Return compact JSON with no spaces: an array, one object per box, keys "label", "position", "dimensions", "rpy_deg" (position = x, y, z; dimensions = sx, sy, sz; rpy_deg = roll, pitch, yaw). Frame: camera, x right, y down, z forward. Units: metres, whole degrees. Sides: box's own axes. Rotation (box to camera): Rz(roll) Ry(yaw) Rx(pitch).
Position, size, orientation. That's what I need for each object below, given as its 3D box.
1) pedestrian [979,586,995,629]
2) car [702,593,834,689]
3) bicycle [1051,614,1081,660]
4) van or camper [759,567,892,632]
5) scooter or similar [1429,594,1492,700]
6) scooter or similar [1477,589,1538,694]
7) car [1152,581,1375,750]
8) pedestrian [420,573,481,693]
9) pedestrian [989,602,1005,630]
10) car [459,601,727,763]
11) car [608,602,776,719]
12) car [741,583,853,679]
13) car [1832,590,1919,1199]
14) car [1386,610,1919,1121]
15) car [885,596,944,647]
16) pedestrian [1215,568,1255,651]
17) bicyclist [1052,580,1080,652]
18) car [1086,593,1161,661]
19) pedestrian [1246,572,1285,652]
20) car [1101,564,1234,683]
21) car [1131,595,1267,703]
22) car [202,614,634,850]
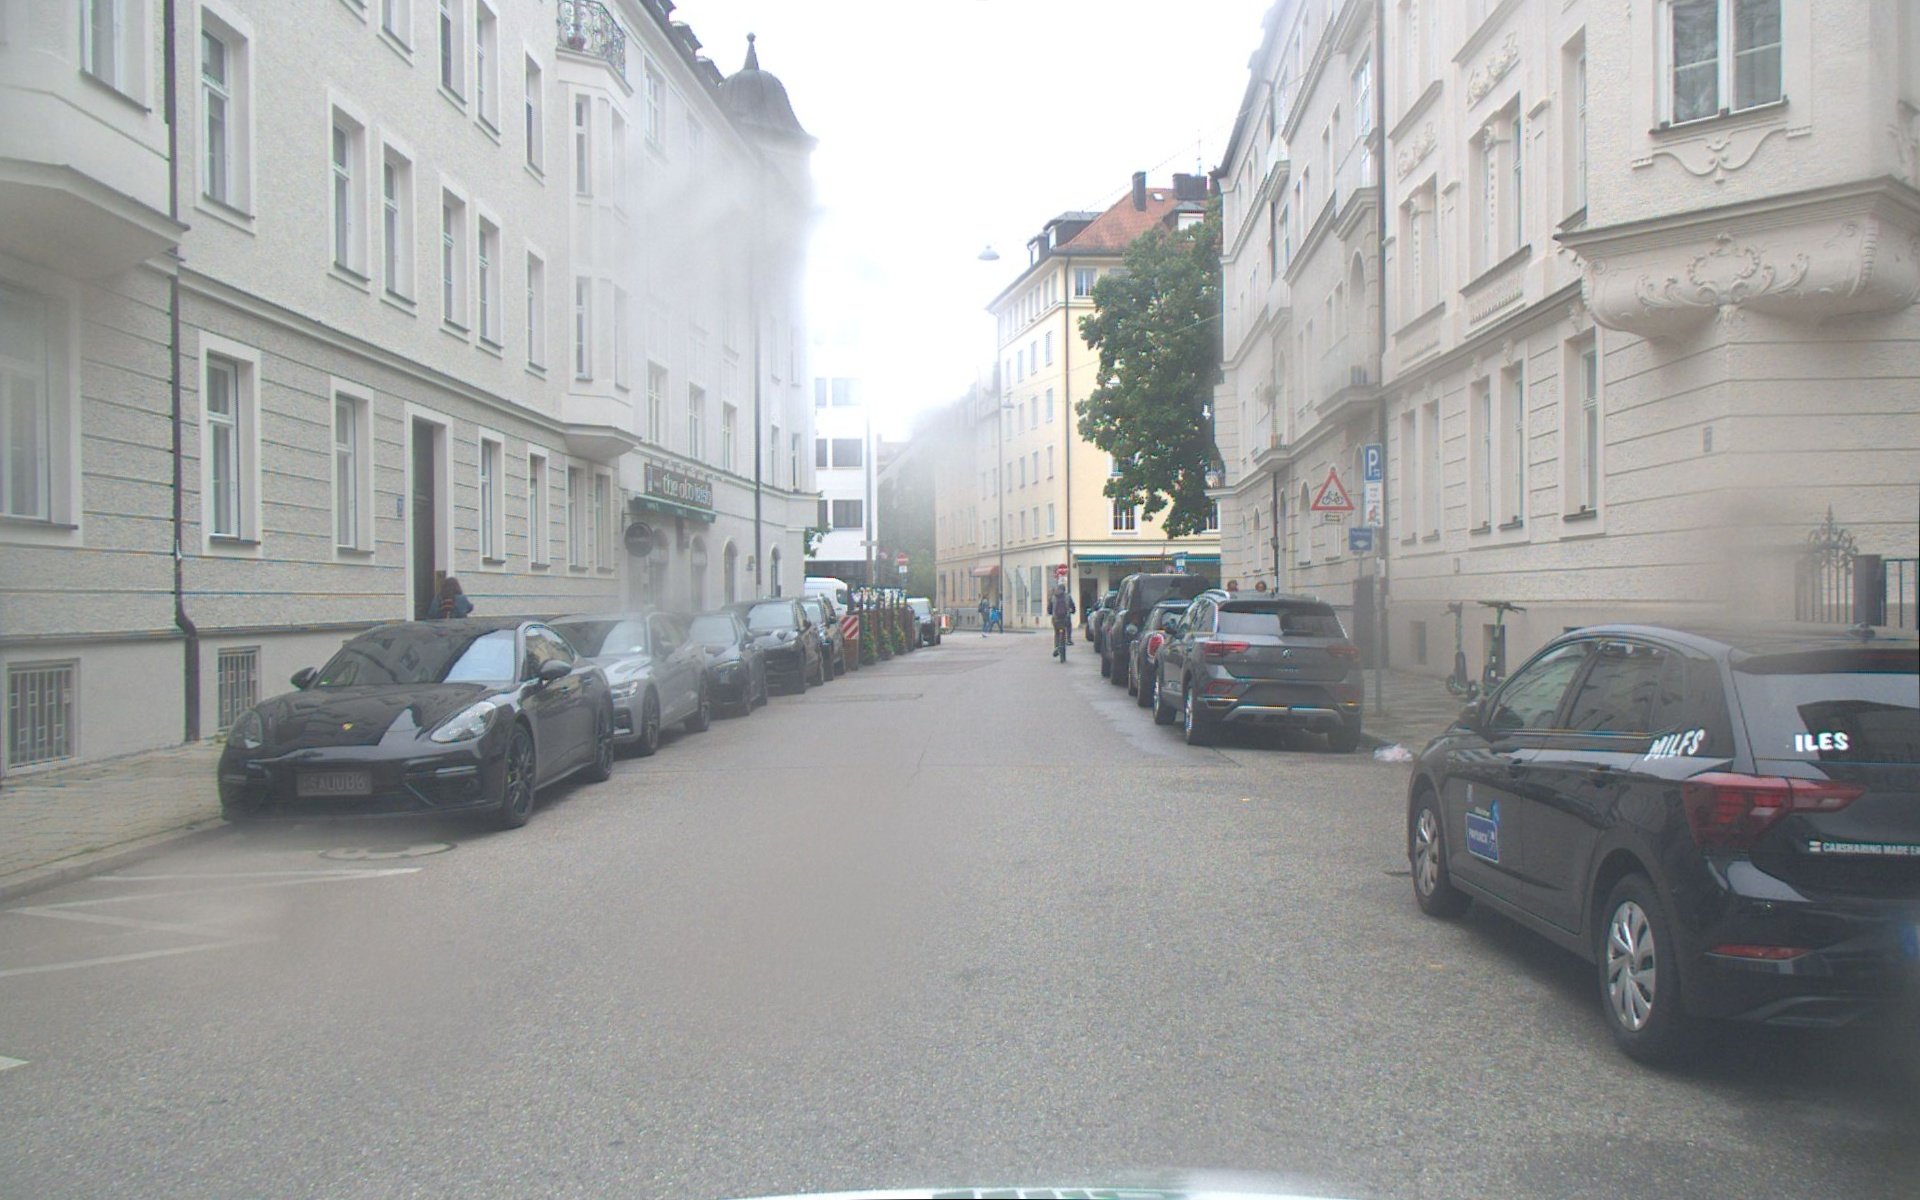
[{"label":"pedestrian","position":[1.071,0.291,65.487],"dimensions":[0.598,1.690,0.551],"rpy_deg":[-1,0,6]},{"label":"car","position":[-3.231,0.647,28.584],"dimensions":[1.706,1.513,4.181],"rpy_deg":[-1,0,1]},{"label":"bicycle","position":[2.470,0.856,38.392],"dimensions":[0.626,1.022,1.575],"rpy_deg":[-1,0,5]},{"label":"van or camper","position":[-5.972,-0.007,73.361],"dimensions":[5.791,2.724,1.870],"rpy_deg":[-1,-2,-7]},{"label":"scooter or similar","position":[6.568,0.593,21.747],"dimensions":[0.529,1.310,1.505],"rpy_deg":[-3,0,9]},{"label":"scooter or similar","position":[7.158,0.525,21.671],"dimensions":[0.496,1.310,1.352],"rpy_deg":[-3,0,10]},{"label":"car","position":[3.179,0.615,18.053],"dimensions":[1.672,1.615,4.000],"rpy_deg":[1,0,0]},{"label":"pedestrian","position":[-7.490,0.474,24.334],"dimensions":[0.683,1.737,0.665],"rpy_deg":[-1,0,-1]},{"label":"pedestrian","position":[1.776,0.758,78.776],"dimensions":[0.684,1.292,0.651],"rpy_deg":[-2,0,6]},{"label":"car","position":[-3.852,0.796,18.185],"dimensions":[1.757,1.444,4.511],"rpy_deg":[-4,0,1]},{"label":"car","position":[-3.703,0.786,23.562],"dimensions":[1.774,1.409,4.442],"rpy_deg":[-2,0,-2]},{"label":"car","position":[-3.210,0.568,33.390],"dimensions":[1.710,1.702,4.276],"rpy_deg":[-4,0,0]},{"label":"car","position":[3.055,0.742,2.150],"dimensions":[1.673,1.527,3.999],"rpy_deg":[0,0,-1]},{"label":"car","position":[3.030,0.785,6.770],"dimensions":[1.579,1.419,4.000],"rpy_deg":[1,0,1]},{"label":"car","position":[-1.548,0.726,57.029],"dimensions":[1.641,1.624,3.946],"rpy_deg":[-3,0,3]},{"label":"pedestrian","position":[6.005,0.204,36.117],"dimensions":[0.689,1.758,0.703],"rpy_deg":[-2,0,-1]},{"label":"bicyclist","position":[2.459,0.362,38.406],"dimensions":[0.593,1.635,0.758],"rpy_deg":[-1,0,6]},{"label":"car","position":[3.898,0.602,39.703],"dimensions":[1.670,1.496,4.203],"rpy_deg":[-1,0,5]},{"label":"pedestrian","position":[6.739,0.266,36.499],"dimensions":[0.666,1.703,0.654],"rpy_deg":[-3,0,-1]},{"label":"car","position":[3.615,0.374,29.579],"dimensions":[1.871,1.918,4.715],"rpy_deg":[1,0,1]},{"label":"car","position":[3.381,0.650,23.931],"dimensions":[1.629,1.420,3.583],"rpy_deg":[1,0,3]},{"label":"car","position":[-3.854,0.847,12.712],"dimensions":[1.812,1.391,4.701],"rpy_deg":[-1,0,-1]}]
